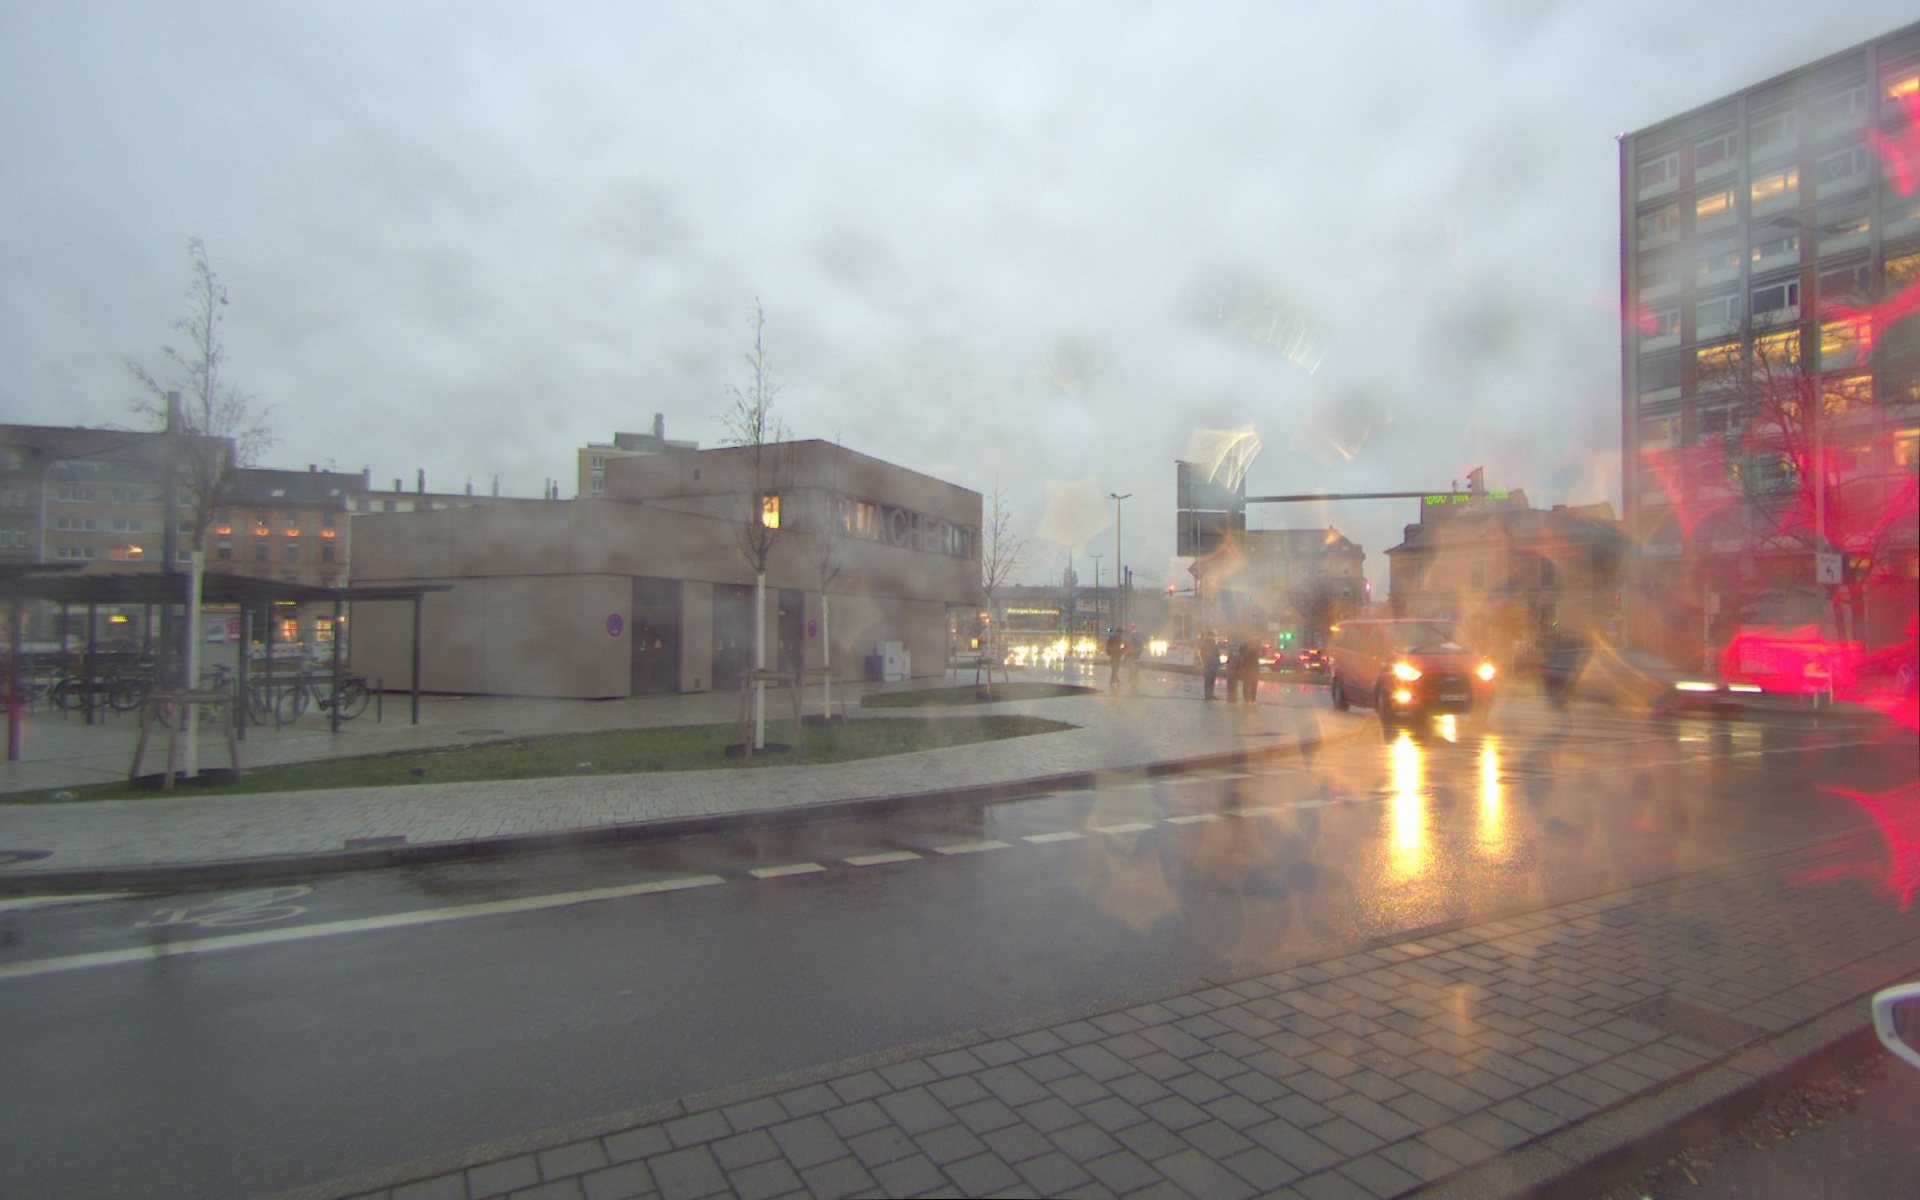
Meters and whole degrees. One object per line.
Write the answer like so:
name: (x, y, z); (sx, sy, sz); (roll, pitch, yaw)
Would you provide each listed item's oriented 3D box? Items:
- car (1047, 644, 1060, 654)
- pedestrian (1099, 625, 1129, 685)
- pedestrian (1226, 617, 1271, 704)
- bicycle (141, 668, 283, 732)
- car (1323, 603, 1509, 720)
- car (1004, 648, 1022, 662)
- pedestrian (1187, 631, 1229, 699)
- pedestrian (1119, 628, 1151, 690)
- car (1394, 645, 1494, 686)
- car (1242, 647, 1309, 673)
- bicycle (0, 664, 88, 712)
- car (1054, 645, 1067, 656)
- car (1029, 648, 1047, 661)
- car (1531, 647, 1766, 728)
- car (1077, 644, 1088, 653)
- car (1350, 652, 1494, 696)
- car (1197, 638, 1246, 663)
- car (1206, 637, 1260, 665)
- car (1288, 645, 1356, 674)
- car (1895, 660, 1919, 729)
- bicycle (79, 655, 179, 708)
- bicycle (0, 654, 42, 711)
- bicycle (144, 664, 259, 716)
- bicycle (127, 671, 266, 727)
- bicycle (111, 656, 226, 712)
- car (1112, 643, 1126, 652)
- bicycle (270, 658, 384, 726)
car: (14.605, 7.669, 156.539); (1.703, 1.529, 4.003); (-1, -2, 10)
pedestrian: (4.637, 1.660, 30.310); (0.731, 1.793, 0.546); (0, -2, -16)
pedestrian: (6.981, 1.449, 24.264); (0.971, 2.047, 0.802); (-1, -2, 19)
bicycle: (-12.949, 1.708, 17.460); (0.466, 0.989, 1.923); (1, -2, 29)
car: (9.040, 1.215, 20.395); (1.891, 2.097, 4.647); (-1, -3, 4)
car: (5.878, 6.127, 111.846); (1.711, 1.467, 3.714); (-1, -2, 0)
pedestrian: (6.574, 1.713, 26.630); (0.838, 1.778, 0.659); (0, -2, -14)
pedestrian: (5.317, 1.785, 30.470); (0.723, 1.863, 0.674); (0, -2, -16)
car: (21.639, 2.902, 45.065); (1.798, 1.589, 3.984); (2, 0, -18)
car: (20.074, 3.818, 63.981); (3.741, 1.502, 1.602); (2, 0, -1)
bicycle: (-18.522, 1.738, 19.991); (0.466, 0.903, 1.693); (1, -2, 24)
car: (14.680, 7.389, 147.039); (1.749, 1.529, 4.003); (-1, -2, 7)
car: (8.861, 6.178, 114.469); (1.775, 1.496, 4.595); (1, -3, 2)
car: (15.222, 1.887, 22.495); (1.811, 1.603, 4.124); (1, -3, -17)
car: (20.109, 7.901, 164.322); (1.704, 1.529, 4.003); (-1, -2, 7)
car: (15.397, 2.437, 33.785); (1.906, 1.319, 4.687); (1, -3, -14)
car: (19.375, 3.734, 74.500); (3.321, 1.724, 1.526); (2, 0, 8)
car: (19.605, 3.667, 72.356); (3.514, 1.850, 1.672); (2, 0, 8)
car: (20.887, 3.419, 58.080); (3.364, 1.481, 1.515); (2, 0, -1)
car: (19.662, 1.781, 18.131); (1.673, 1.319, 3.756); (1, -3, -15)
bicycle: (-17.700, 1.716, 21.434); (0.511, 1.050, 1.574); (1, -2, 19)
bicycle: (-19.408, 1.637, 19.840); (0.466, 1.122, 1.797); (1, -2, 29)
bicycle: (-15.194, 1.784, 20.175); (0.466, 0.968, 1.767); (1, -2, 29)
bicycle: (-13.600, 1.743, 17.953); (0.466, 0.903, 1.923); (1, -2, 29)
bicycle: (-16.544, 1.741, 21.040); (0.466, 1.087, 1.830); (1, -2, 26)
car: (29.186, 8.721, 184.265); (1.705, 1.529, 4.000); (-1, -2, 20)
bicycle: (-11.763, 1.681, 18.721); (0.605, 1.172, 1.755); (1, -2, 20)
